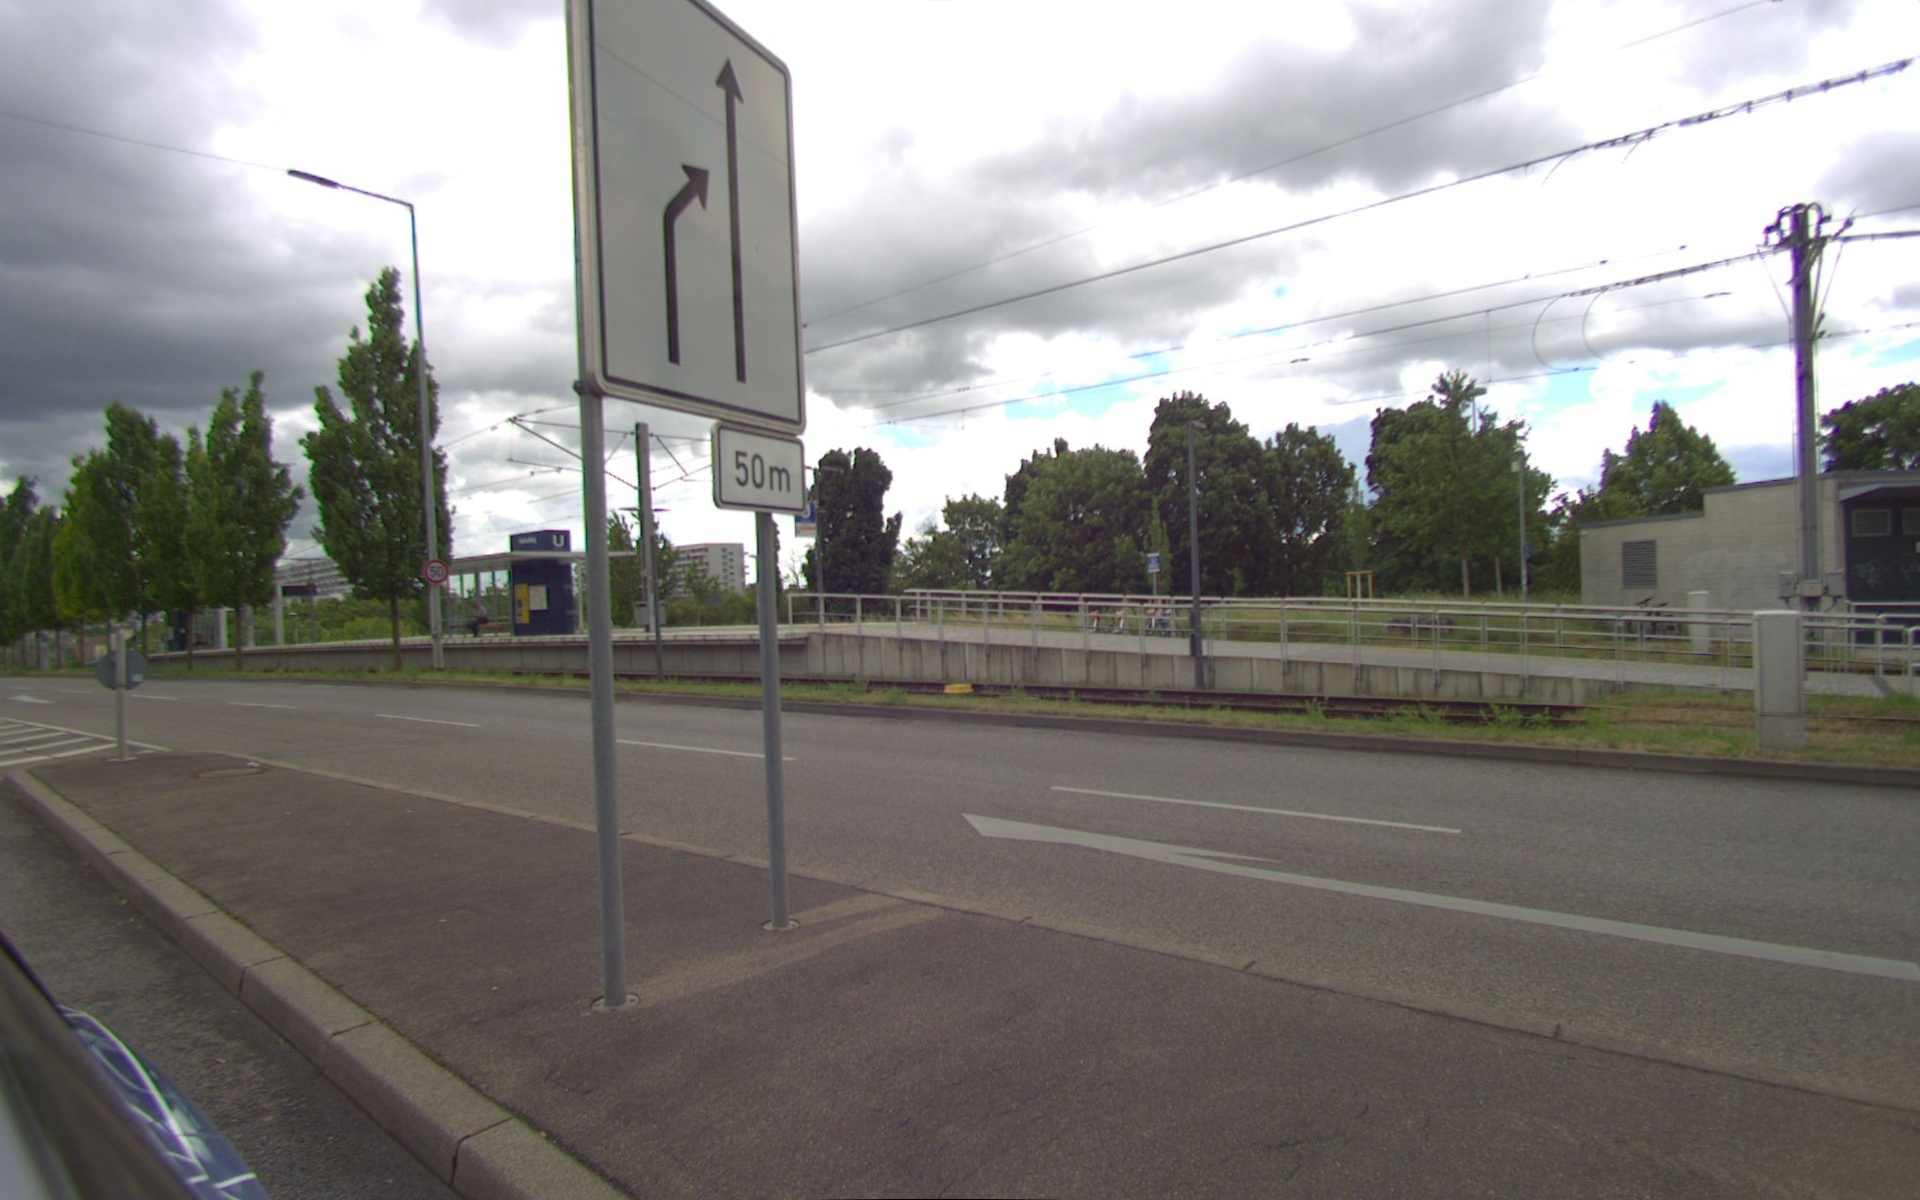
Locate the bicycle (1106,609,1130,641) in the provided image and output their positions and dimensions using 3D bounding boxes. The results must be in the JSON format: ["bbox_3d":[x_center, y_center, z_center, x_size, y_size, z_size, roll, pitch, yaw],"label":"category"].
[{"bbox_3d":[5.392,0.852,34.446,0.531,1.039,1.804,-1,0,16],"label":"bicycle"}]

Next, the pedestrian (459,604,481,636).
[{"bbox_3d":[-18.314,0.740,37.812,0.447,1.163,0.593,-1,0,41],"label":"pedestrian"}]

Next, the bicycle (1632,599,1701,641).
[{"bbox_3d":[18.191,0.504,26.106,0.529,1.039,1.813,-1,0,1],"label":"bicycle"}]

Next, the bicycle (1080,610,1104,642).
[{"bbox_3d":[4.552,0.889,34.862,0.531,1.039,1.804,-1,0,16],"label":"bicycle"}]

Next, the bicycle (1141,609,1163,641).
[{"bbox_3d":[6.448,0.824,33.993,0.531,1.039,1.804,-1,0,16],"label":"bicycle"}]

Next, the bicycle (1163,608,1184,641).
[{"bbox_3d":[7.123,0.797,33.672,0.531,1.039,1.804,-1,0,16],"label":"bicycle"}]
